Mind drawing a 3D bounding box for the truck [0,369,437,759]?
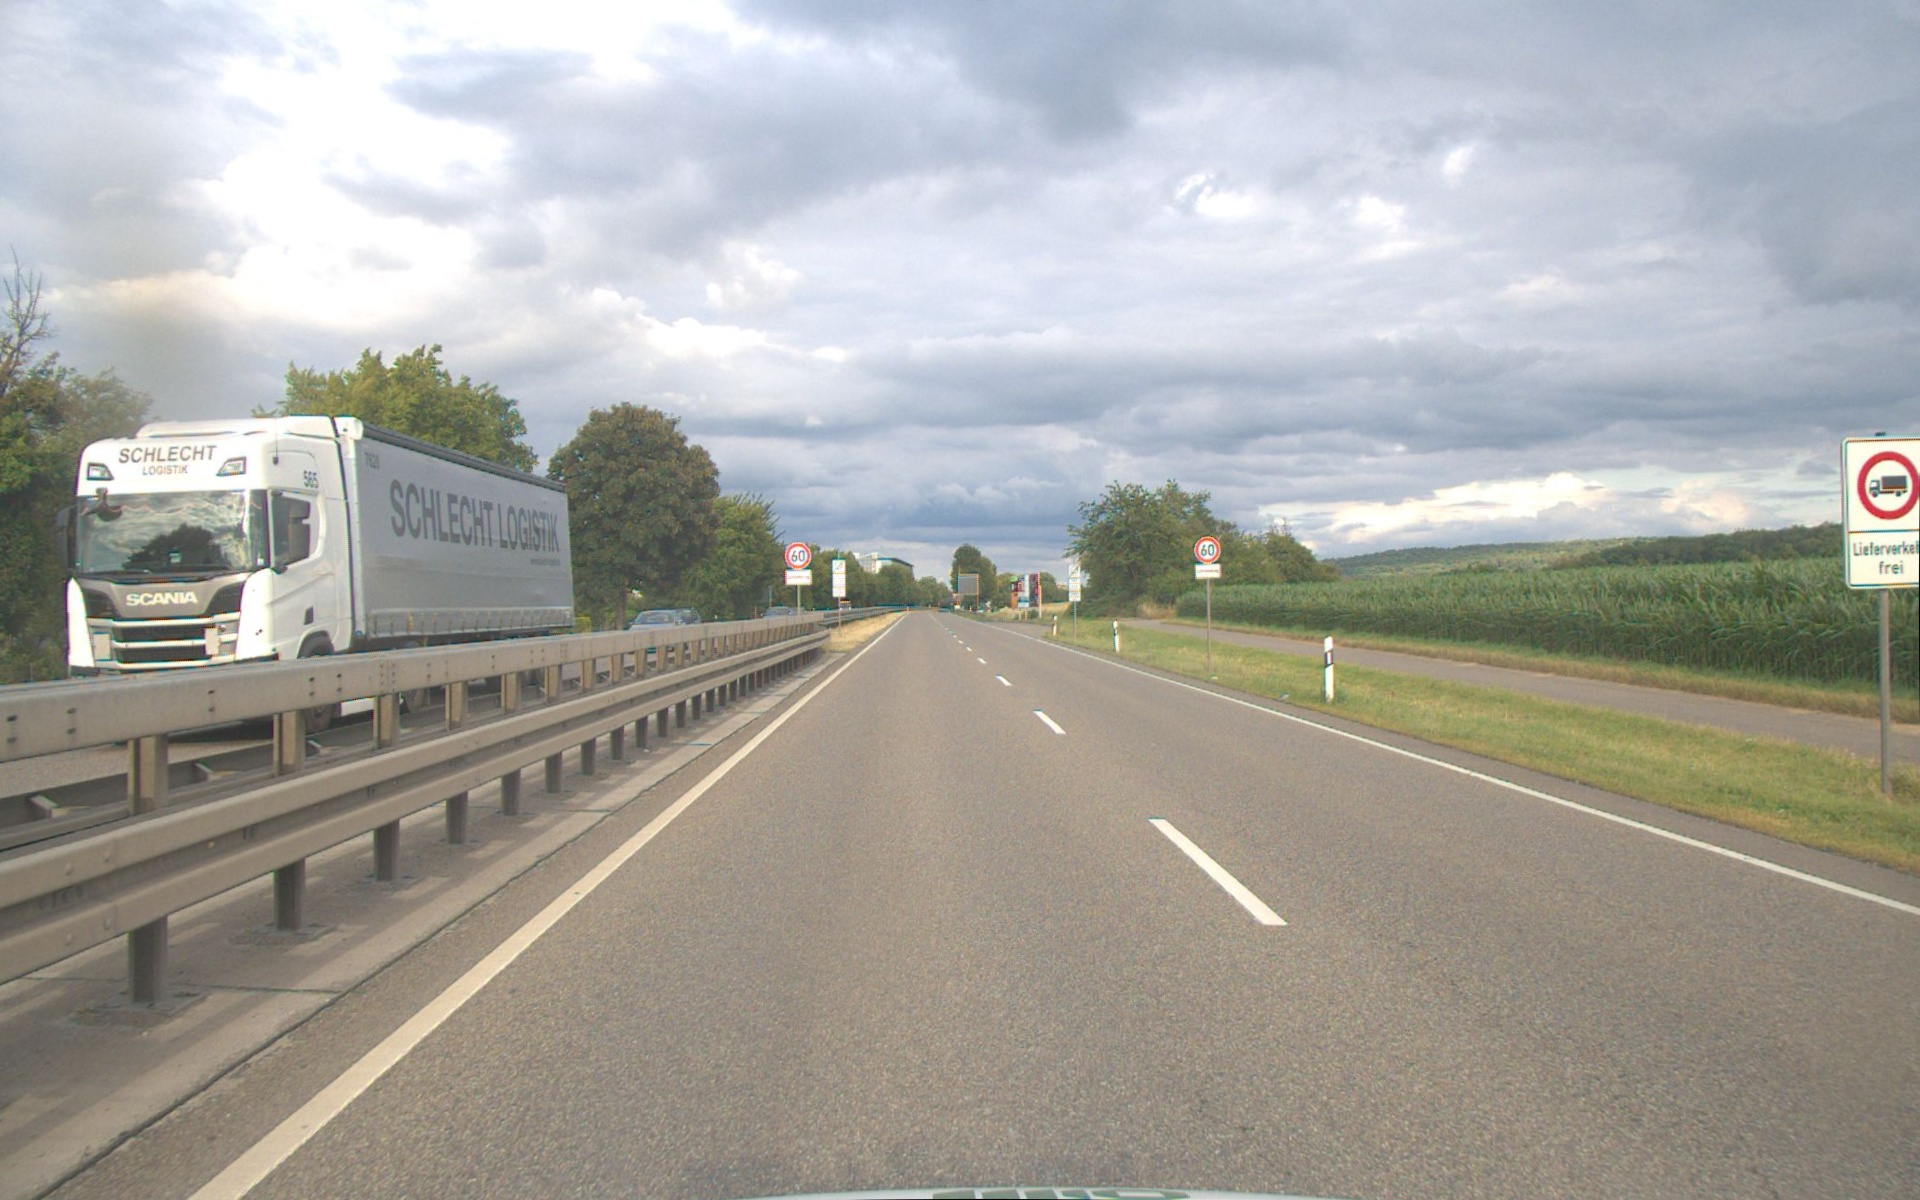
[{"bbox_3d":[-9.538,-0.409,21.612,3.405,4.222,6.048,-3,0,-2],"label":"truck"}]

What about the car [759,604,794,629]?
[{"bbox_3d":[-11.949,1.028,107.780,1.829,1.503,4.824,-2,0,-2],"label":"car"}]

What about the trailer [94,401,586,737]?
[{"bbox_3d":[-9.668,-0.423,28.577,3.395,4.222,13.912,-3,0,-1],"label":"trailer"}]

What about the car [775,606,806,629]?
[{"bbox_3d":[-12.436,1.278,121.382,1.829,1.503,4.934,-2,0,-2],"label":"car"}]

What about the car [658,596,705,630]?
[{"bbox_3d":[-14.094,0.645,84.006,1.753,1.601,4.159,-2,0,-2],"label":"car"}]

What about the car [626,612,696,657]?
[{"bbox_3d":[-10.276,1.154,57.093,1.753,1.410,4.159,-2,0,-2],"label":"car"}]
